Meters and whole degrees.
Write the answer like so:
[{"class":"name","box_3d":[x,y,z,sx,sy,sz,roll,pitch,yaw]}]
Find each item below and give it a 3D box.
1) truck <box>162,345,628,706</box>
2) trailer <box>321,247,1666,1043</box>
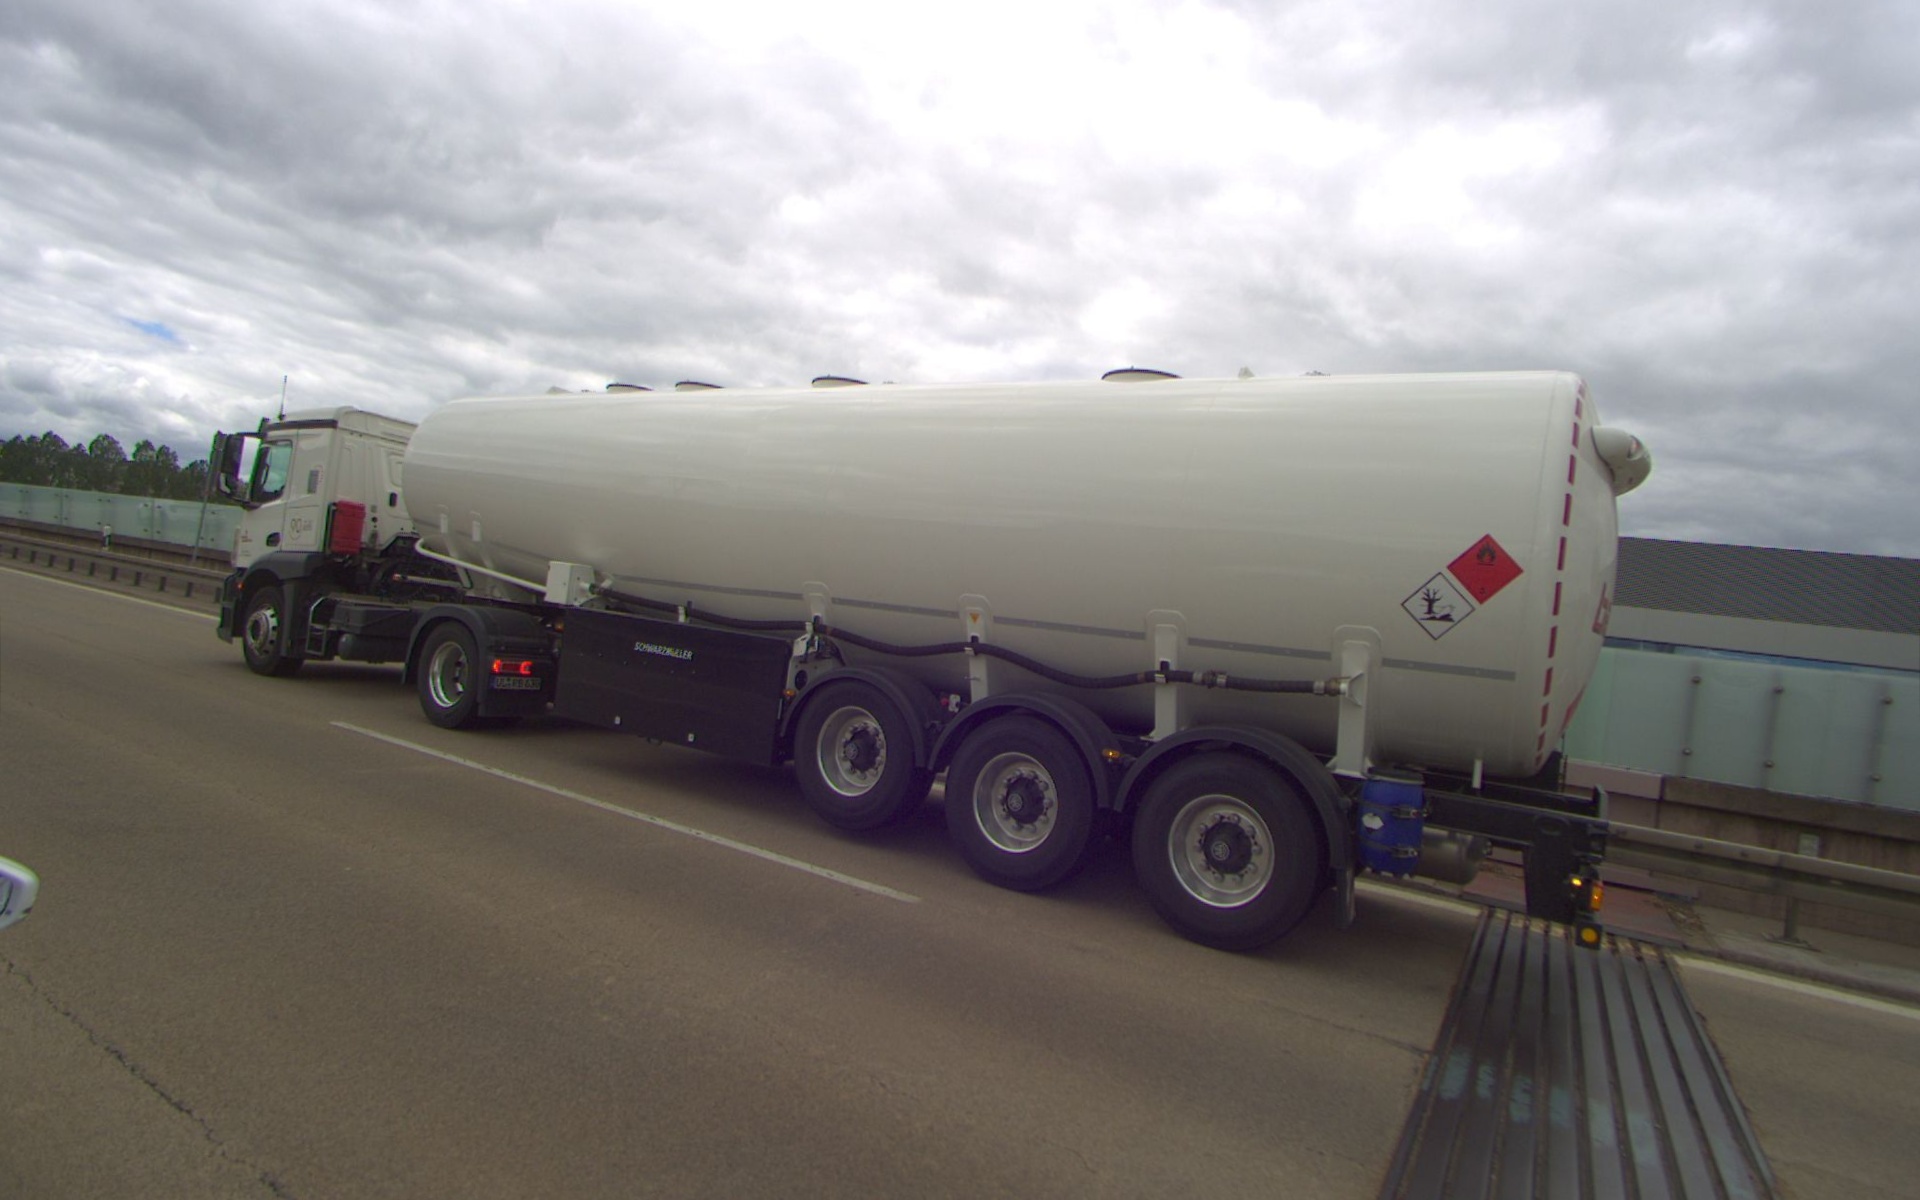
[{"class":"truck","box_3d":[-6.946,-0.852,12.306,4.823,3.555,2.635,7,-1,32]},{"class":"trailer","box_3d":[-1.023,-0.193,8.558,11.035,3.585,2.655,6,-1,32]}]
